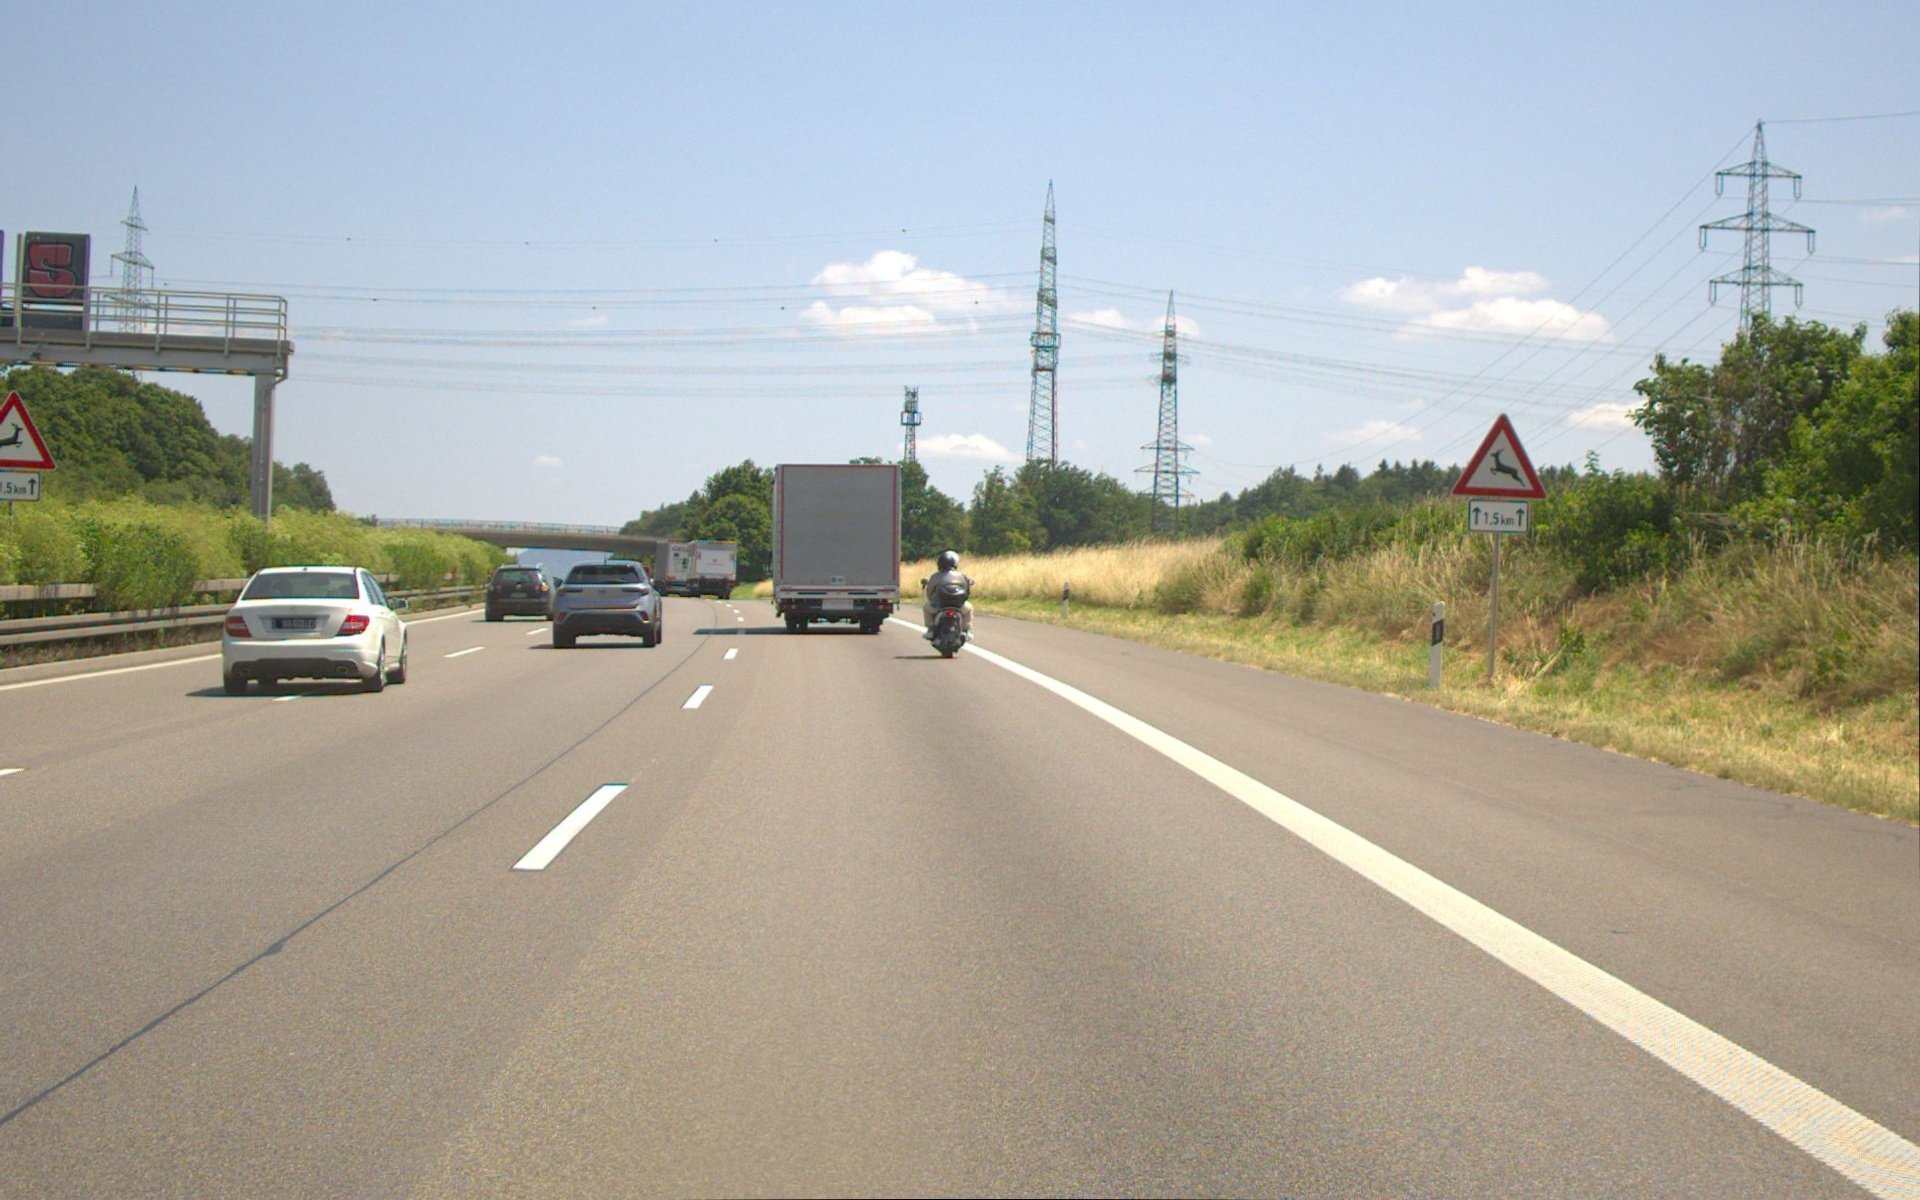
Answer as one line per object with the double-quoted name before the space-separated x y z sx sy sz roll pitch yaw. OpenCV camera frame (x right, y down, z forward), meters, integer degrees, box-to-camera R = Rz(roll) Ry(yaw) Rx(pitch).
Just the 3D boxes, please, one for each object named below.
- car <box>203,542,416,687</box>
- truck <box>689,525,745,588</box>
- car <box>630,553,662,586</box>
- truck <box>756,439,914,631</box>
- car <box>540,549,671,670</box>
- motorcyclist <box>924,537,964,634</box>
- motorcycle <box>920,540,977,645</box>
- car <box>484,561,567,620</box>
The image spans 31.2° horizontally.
"car" -7.364 0.124 39.232 1.819 1.535 3.915 0 1 -2
"truck" -15.315 -2.730 216.799 3.483 3.899 7.291 0 1 -4
"car" -19.138 -1.854 209.477 1.901 1.919 4.001 0 1 -5
"truck" -2.766 -1.390 74.726 3.221 3.911 9.062 0 1 -3
"car" -6.172 0.134 60.291 1.993 2.007 4.001 0 1 -2
"motorcyclist" -0.251 -0.228 53.222 0.572 1.474 0.700 0 1 -3
"motorcycle" -0.188 -0.127 53.223 0.809 1.602 1.782 0 1 -3
"car" -11.193 -0.266 88.779 1.756 1.424 4.001 0 1 -2
